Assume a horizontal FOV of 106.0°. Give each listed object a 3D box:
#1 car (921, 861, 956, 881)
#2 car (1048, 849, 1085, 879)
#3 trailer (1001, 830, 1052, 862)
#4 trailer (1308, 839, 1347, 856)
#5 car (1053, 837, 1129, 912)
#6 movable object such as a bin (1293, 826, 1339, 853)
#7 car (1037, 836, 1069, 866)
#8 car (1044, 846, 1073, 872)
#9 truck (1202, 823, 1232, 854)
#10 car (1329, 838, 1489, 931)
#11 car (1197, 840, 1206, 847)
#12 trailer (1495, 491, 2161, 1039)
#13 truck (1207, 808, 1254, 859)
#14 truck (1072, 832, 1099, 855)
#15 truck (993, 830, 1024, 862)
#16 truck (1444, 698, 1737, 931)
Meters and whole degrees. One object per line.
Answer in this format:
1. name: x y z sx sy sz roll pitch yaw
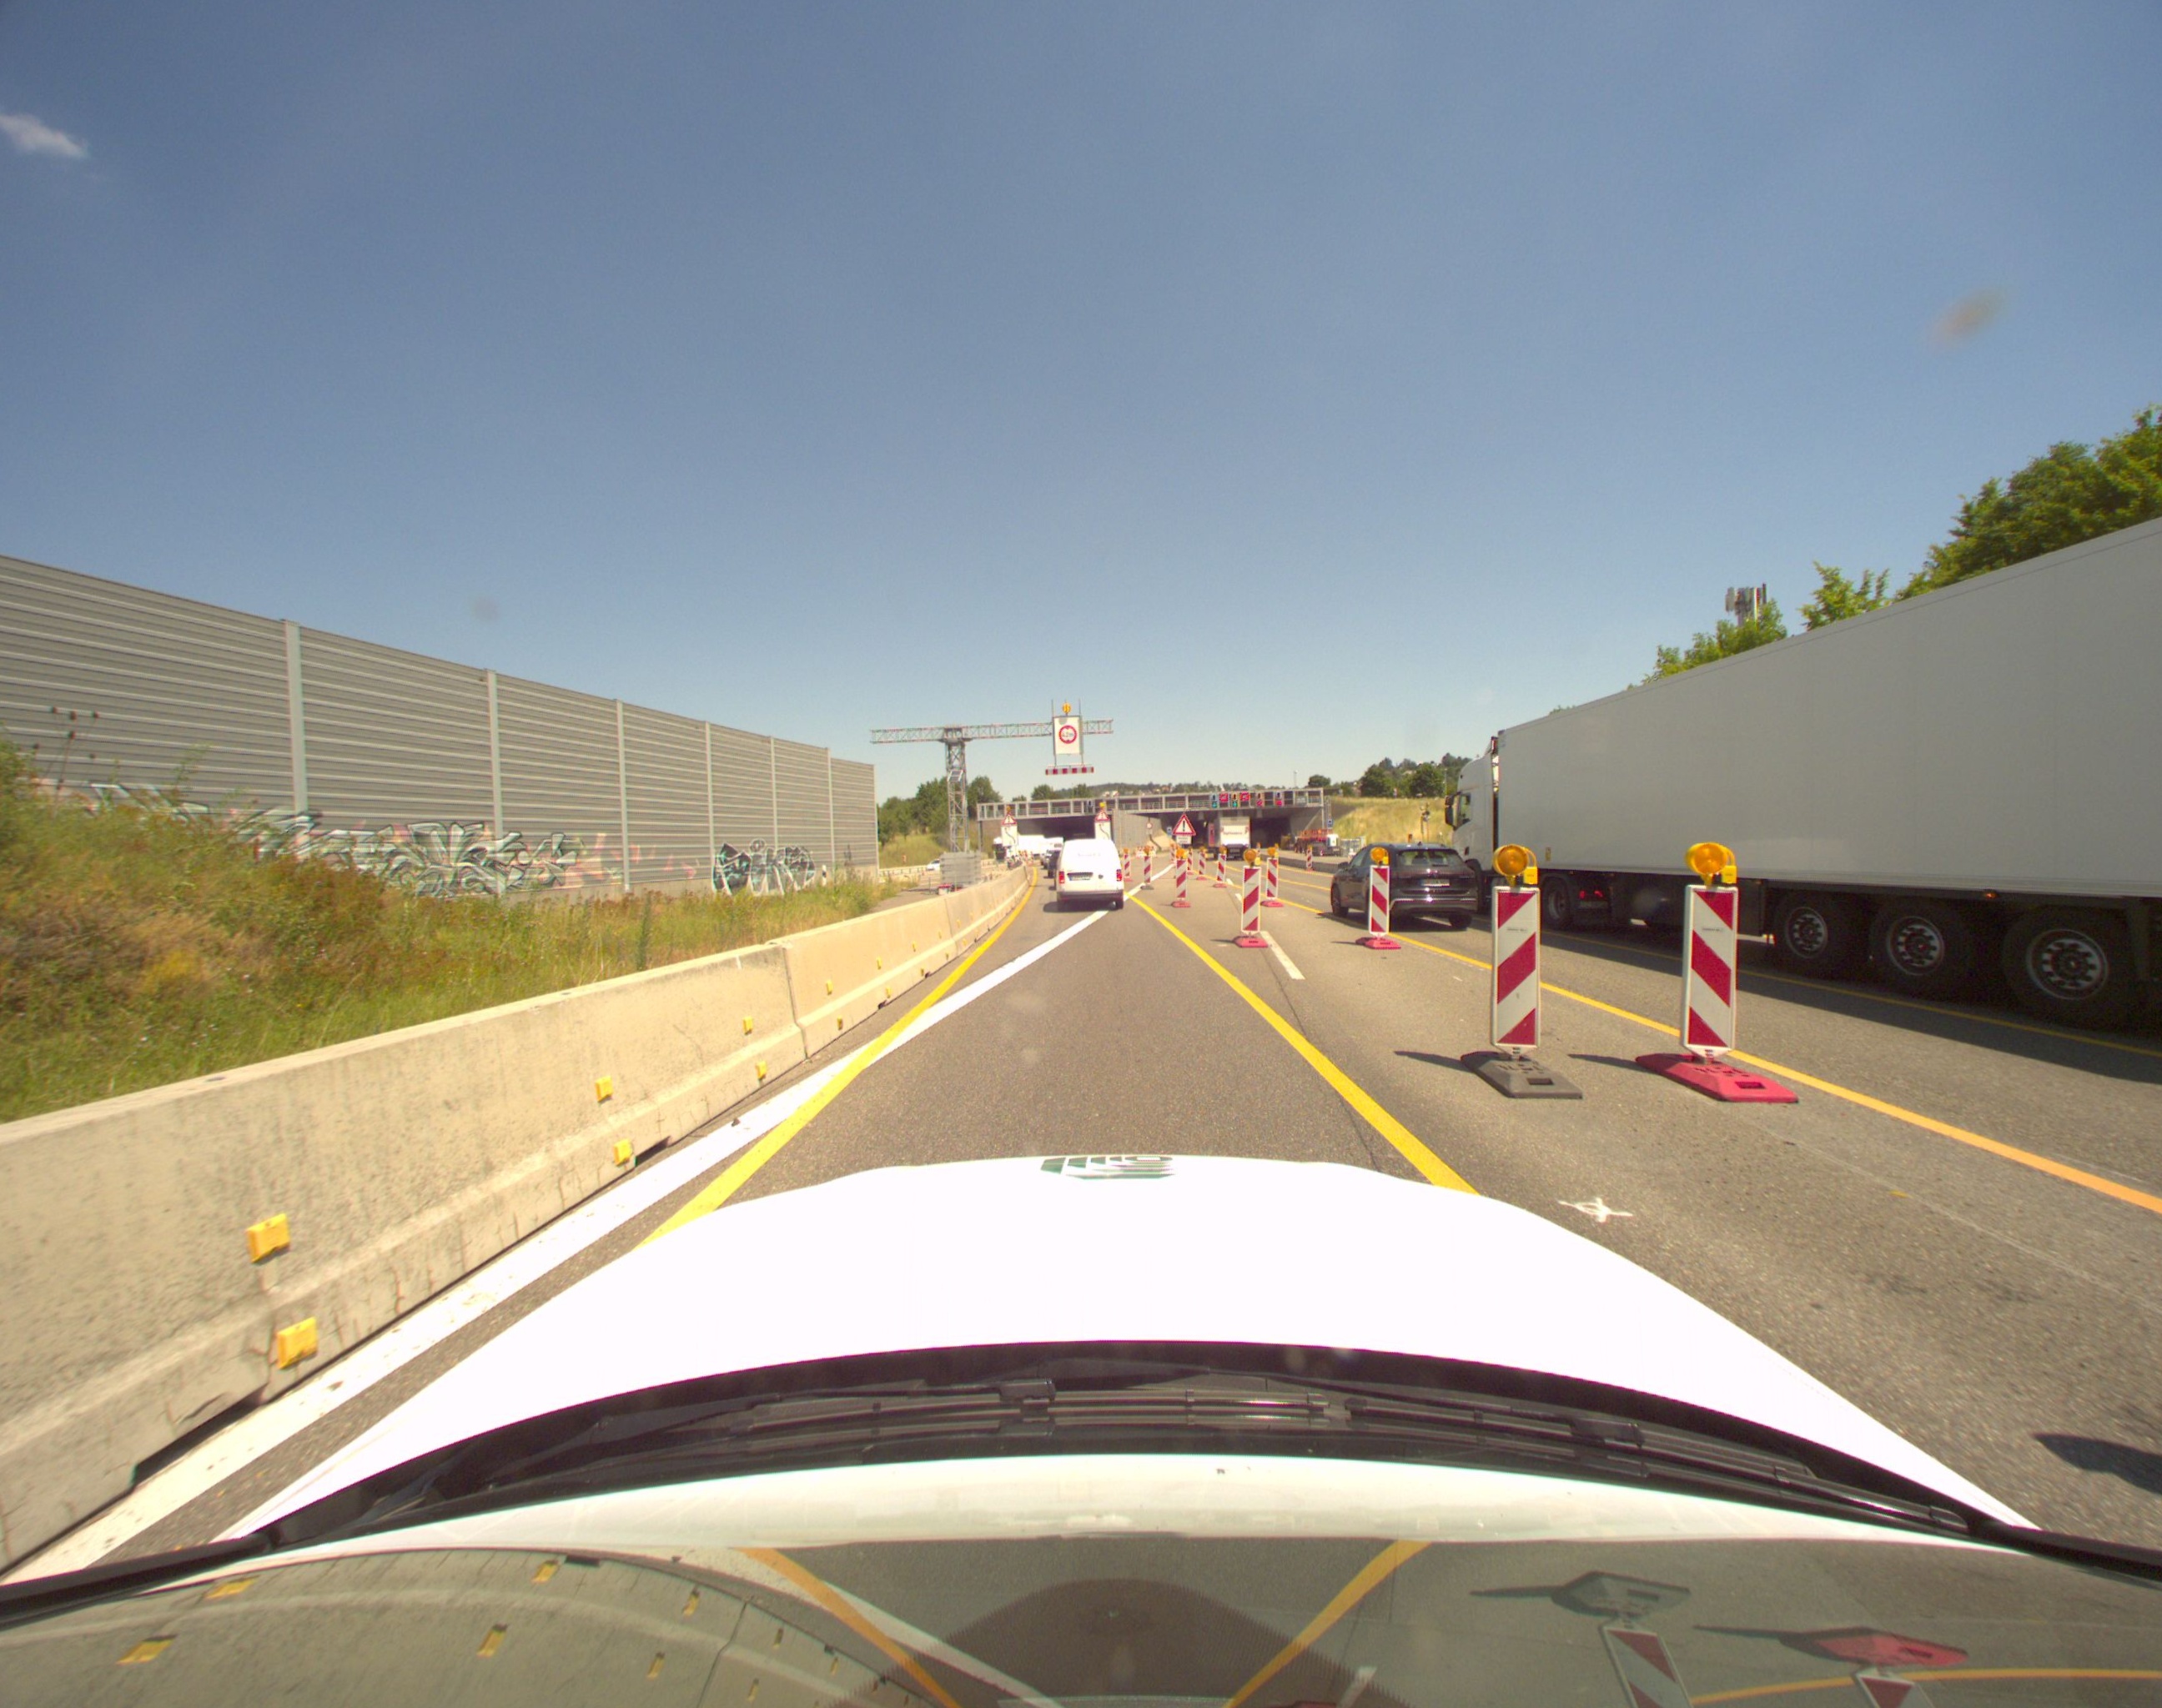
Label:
1. car: -14.377 1.704 82.391 1.978 2.014 4.017 -1 -1 16
2. car: -0.867 0.525 46.093 1.805 1.537 4.403 -3 0 -4
3. trailer: -8.115 -1.272 124.541 2.643 4.500 14.995 -1 0 17
4. trailer: 26.686 -0.693 88.382 2.584 1.568 6.241 -3 0 3
5. car: 0.176 0.506 22.140 1.804 1.794 3.728 -3 0 -2
6. movable object such as a bin: 29.419 -1.726 102.817 3.095 3.010 14.729 -3 0 7
7. car: -2.772 -0.251 78.341 2.808 2.773 7.091 -1 0 -4
8. car: -1.751 0.335 61.856 1.806 1.815 4.400 -3 0 -6
9. truck: 19.324 -2.096 116.301 3.384 4.071 16.568 -1 0 7
10. car: 6.462 0.537 16.575 1.807 1.630 4.194 -1 0 4
11. car: 27.830 -2.371 188.483 1.805 1.630 4.198 -1 0 7
12. trailer: 9.707 -0.684 10.274 2.720 4.062 14.112 -1 0 4
13. truck: 13.987 -1.660 77.692 3.384 4.335 16.567 0 0 7
14. truck: 0.896 -2.009 156.075 3.517 4.270 5.808 -2 0 19
15. truck: -10.360 -1.169 117.077 2.643 4.500 4.865 -1 0 17
16. truck: 10.203 -0.689 17.171 2.733 4.033 5.932 -1 0 4
